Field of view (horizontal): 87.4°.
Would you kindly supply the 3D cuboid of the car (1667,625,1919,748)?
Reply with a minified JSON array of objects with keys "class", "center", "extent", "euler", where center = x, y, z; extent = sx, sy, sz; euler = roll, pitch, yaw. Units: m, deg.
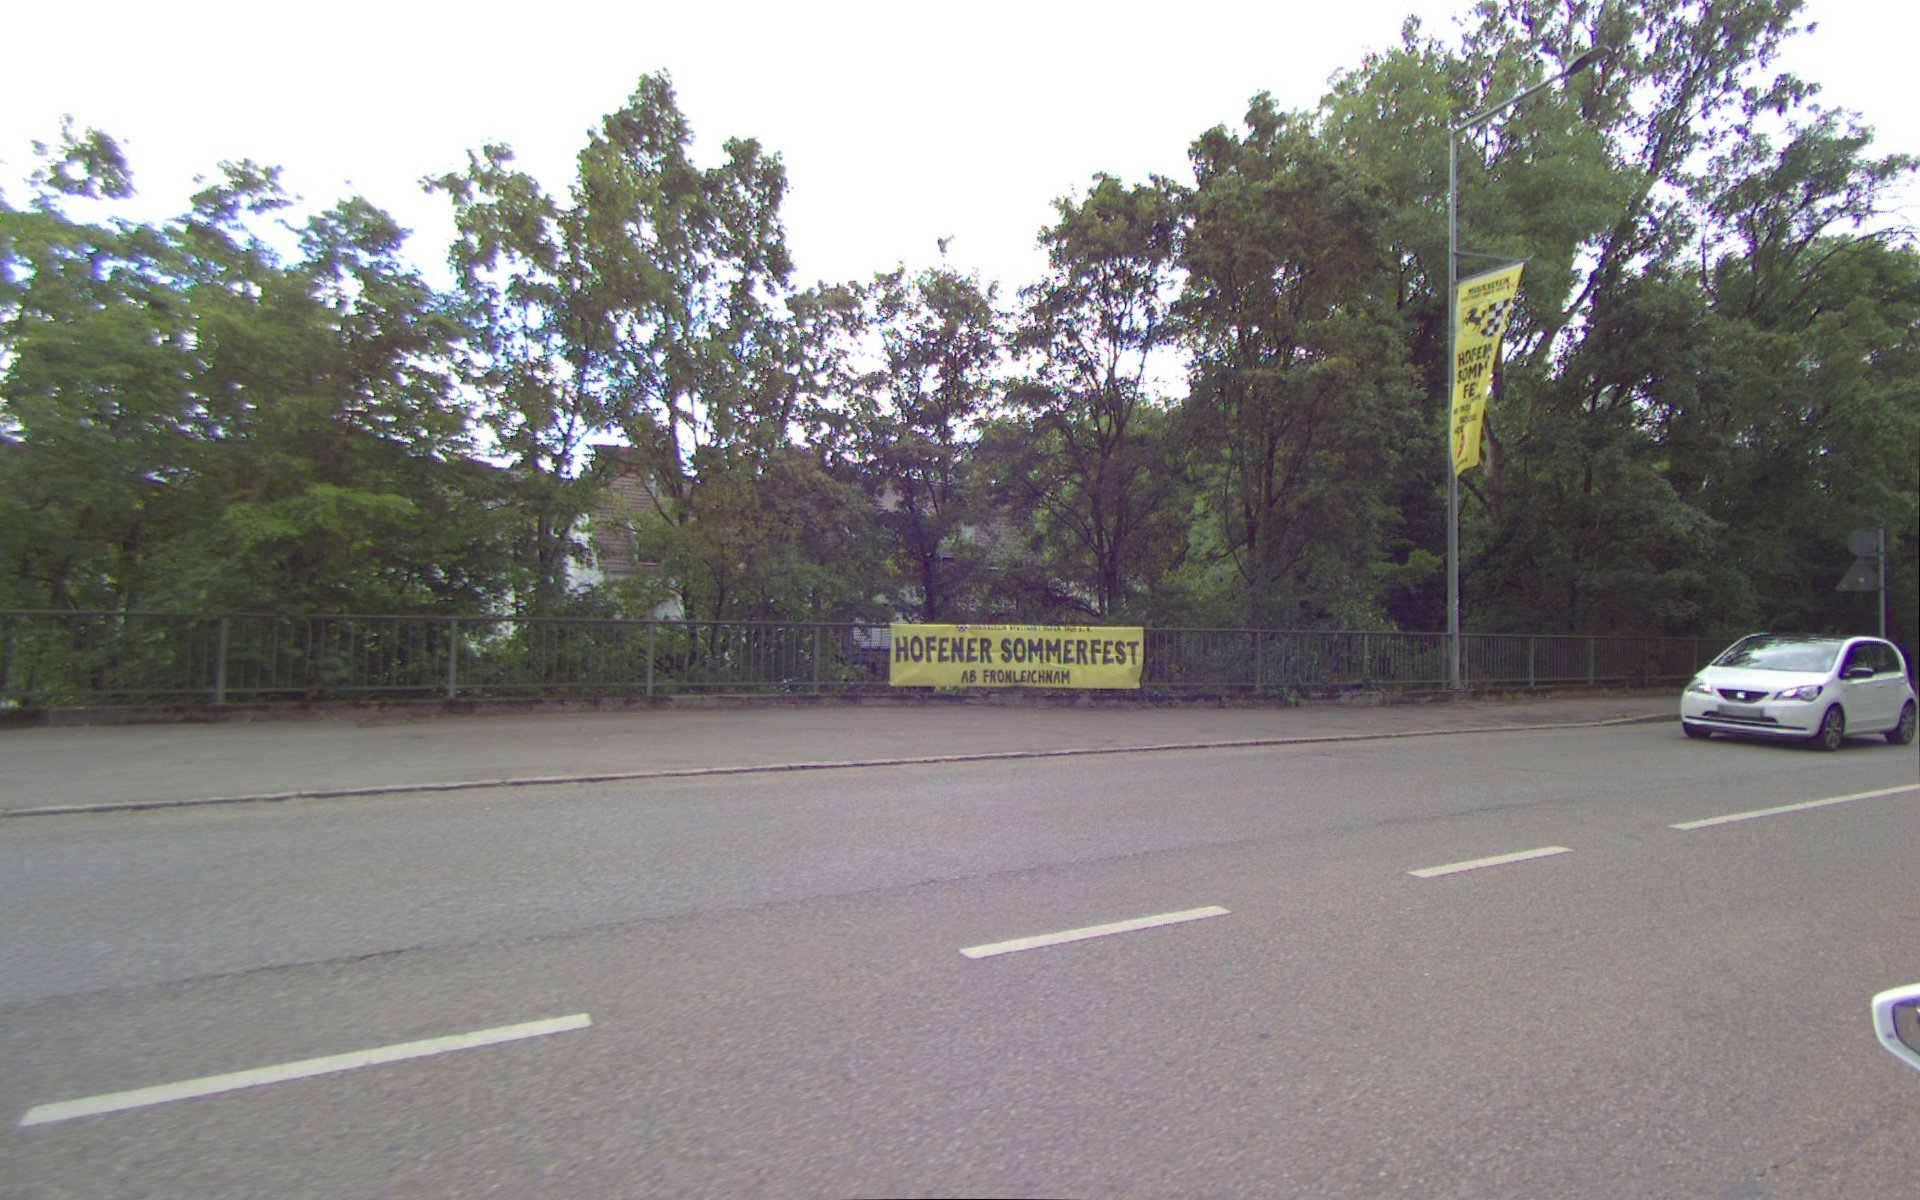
[{"class":"car","center":[11.537,1.116,13.824],"extent":[3.652,1.485,1.573],"euler":[2,-1,-30]}]
